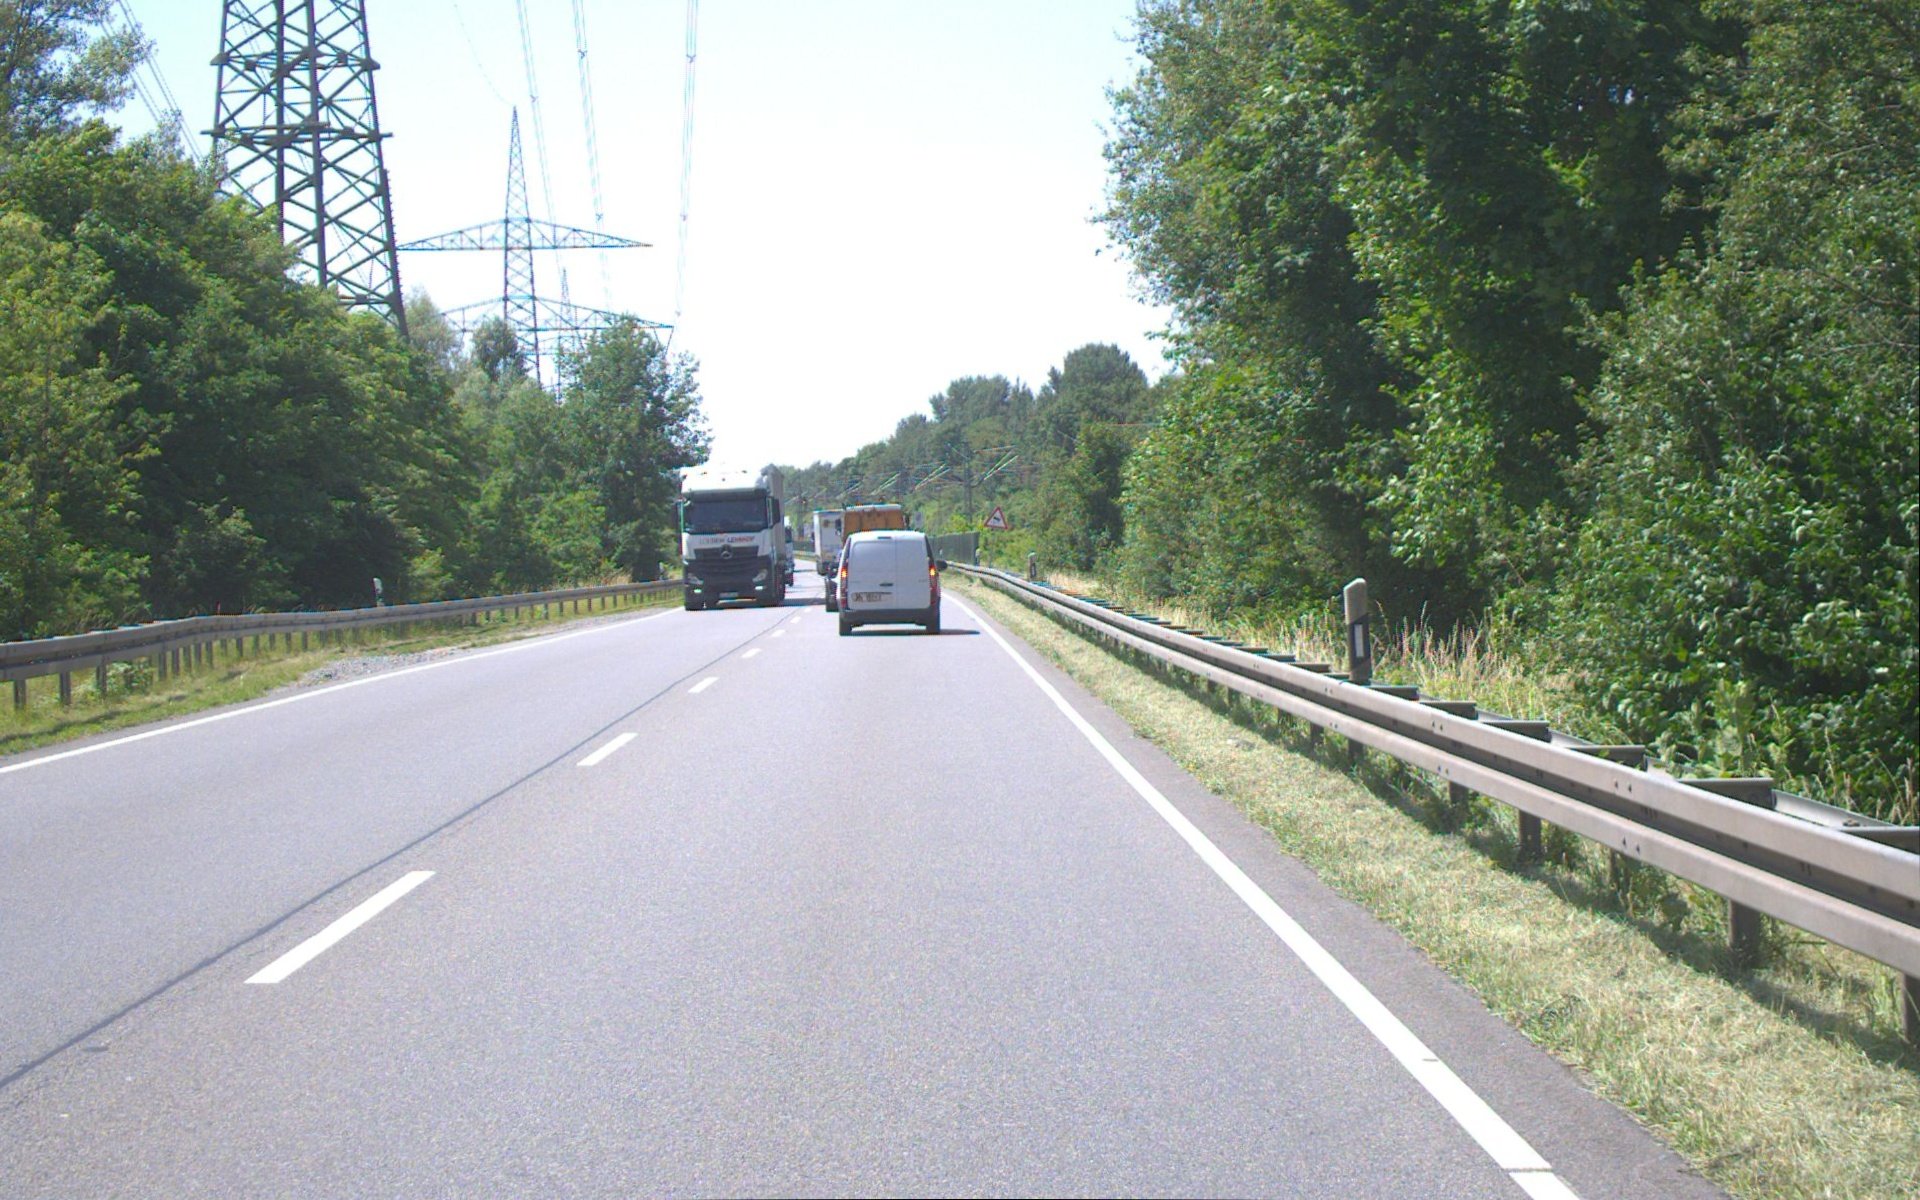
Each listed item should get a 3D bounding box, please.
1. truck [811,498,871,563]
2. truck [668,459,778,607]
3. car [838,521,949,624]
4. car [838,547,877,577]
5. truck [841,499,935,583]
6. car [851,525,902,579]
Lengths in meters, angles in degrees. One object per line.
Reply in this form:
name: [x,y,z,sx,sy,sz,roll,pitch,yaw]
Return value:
truck: [-7.615,-4.455,217.672,3.402,3.841,16.821,0,2,-3]
truck: [-6.578,-1.859,96.047,2.763,3.985,5.907,1,1,-1]
car: [-1.159,-0.501,59.938,1.875,1.735,4.000,0,1,-1]
car: [-5.534,-2.064,185.043,1.993,1.521,4.001,-3,1,-3]
truck: [-3.038,-2.480,140.486,3.296,3.161,14.407,0,2,-3]
car: [-3.144,-1.813,128.895,1.763,2.007,4.001,0,1,-3]
